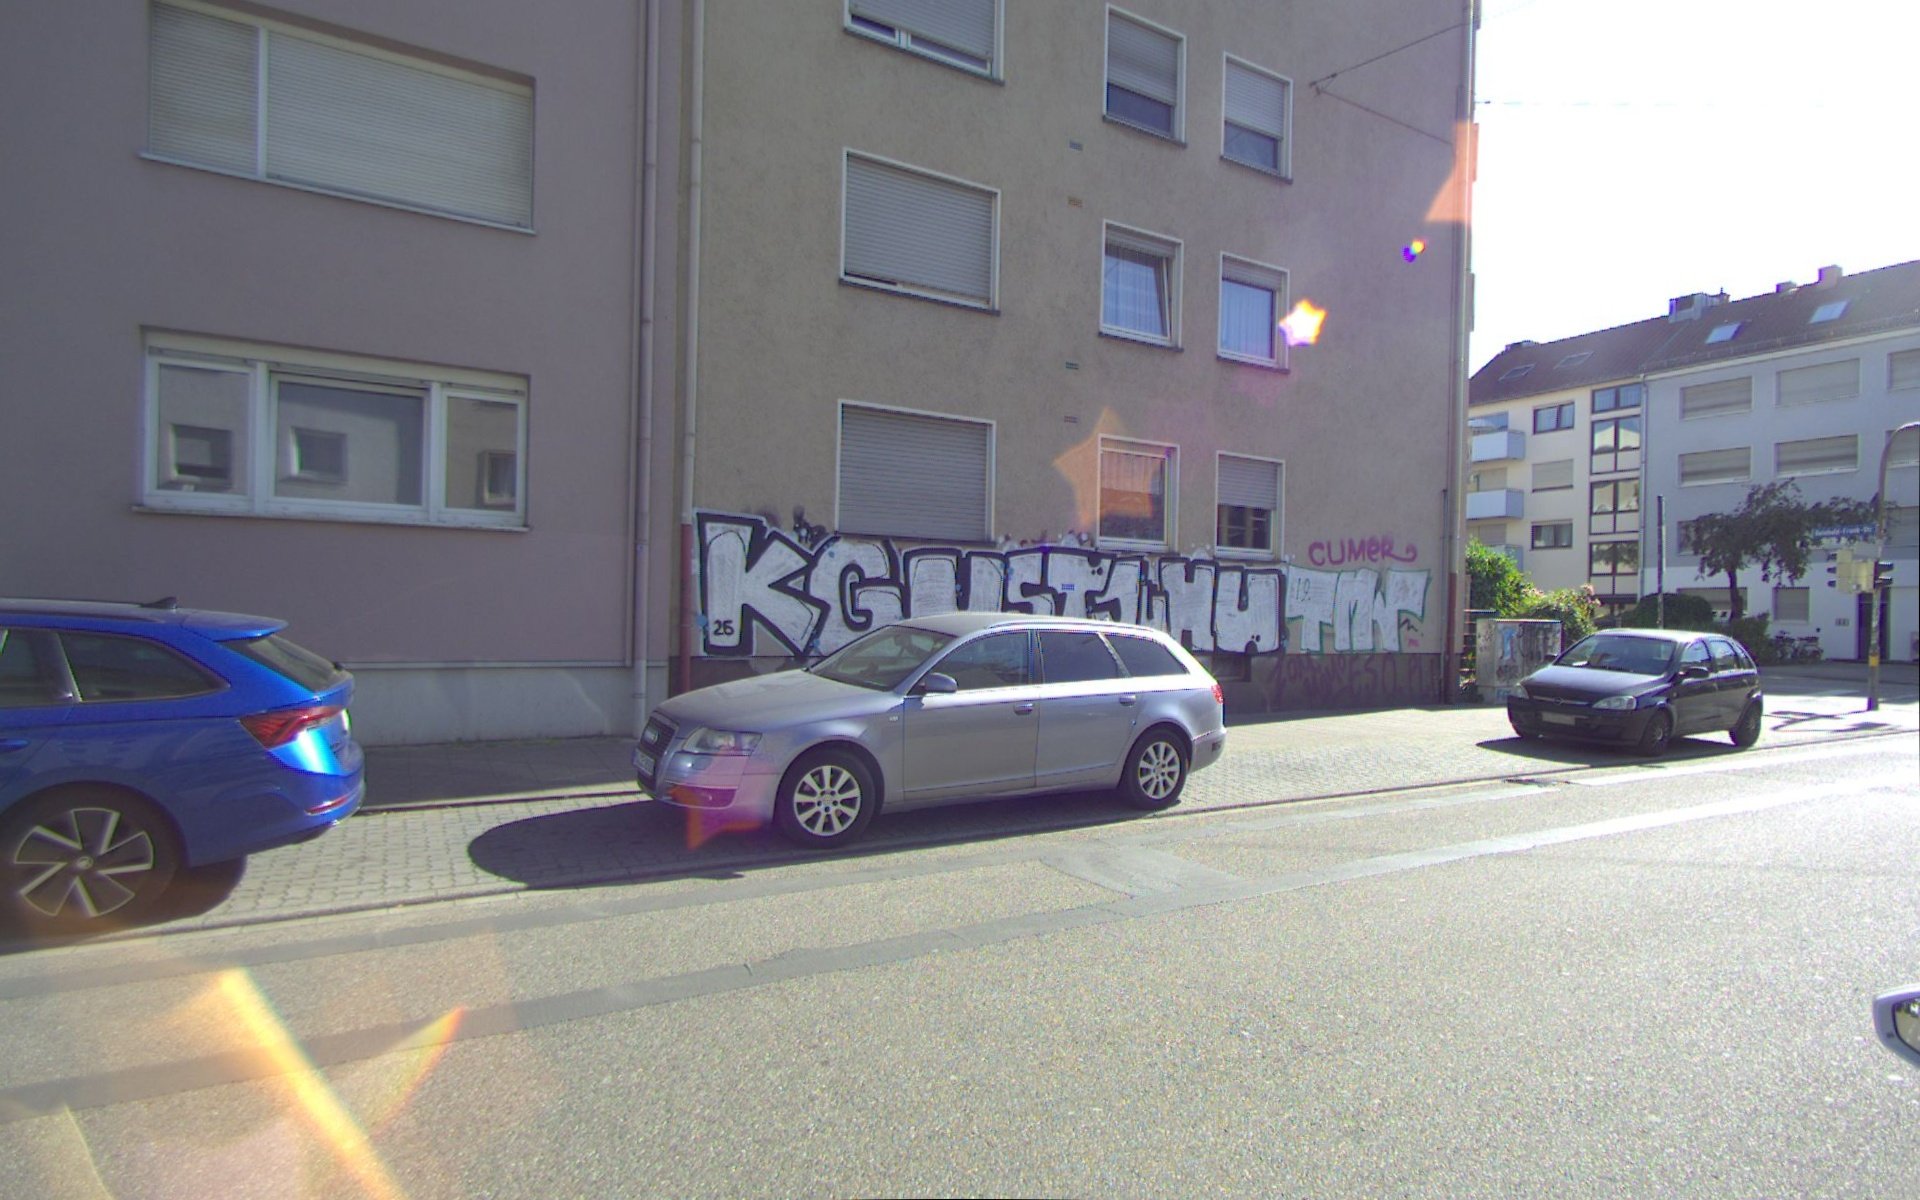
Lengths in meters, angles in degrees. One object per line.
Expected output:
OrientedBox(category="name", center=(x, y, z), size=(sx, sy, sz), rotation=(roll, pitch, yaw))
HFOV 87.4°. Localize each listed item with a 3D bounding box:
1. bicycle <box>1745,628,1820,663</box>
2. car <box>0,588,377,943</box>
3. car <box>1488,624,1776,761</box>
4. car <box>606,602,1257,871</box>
OrientedBox(category="bicycle", center=(29.724, 1.639, 36.348), size=(2.068, 1.188, 0.738), rotation=(0, -1, 37))
OrientedBox(category="car", center=(-5.342, 0.697, 4.621), size=(4.559, 1.485, 1.709), rotation=(1, 2, -30))
OrientedBox(category="car", center=(8.629, 1.091, 12.844), size=(3.667, 1.444, 1.608), rotation=(1, 2, -31))
OrientedBox(category="car", center=(-0.071, 0.835, 7.728), size=(4.759, 1.485, 1.708), rotation=(1, 2, -31))
